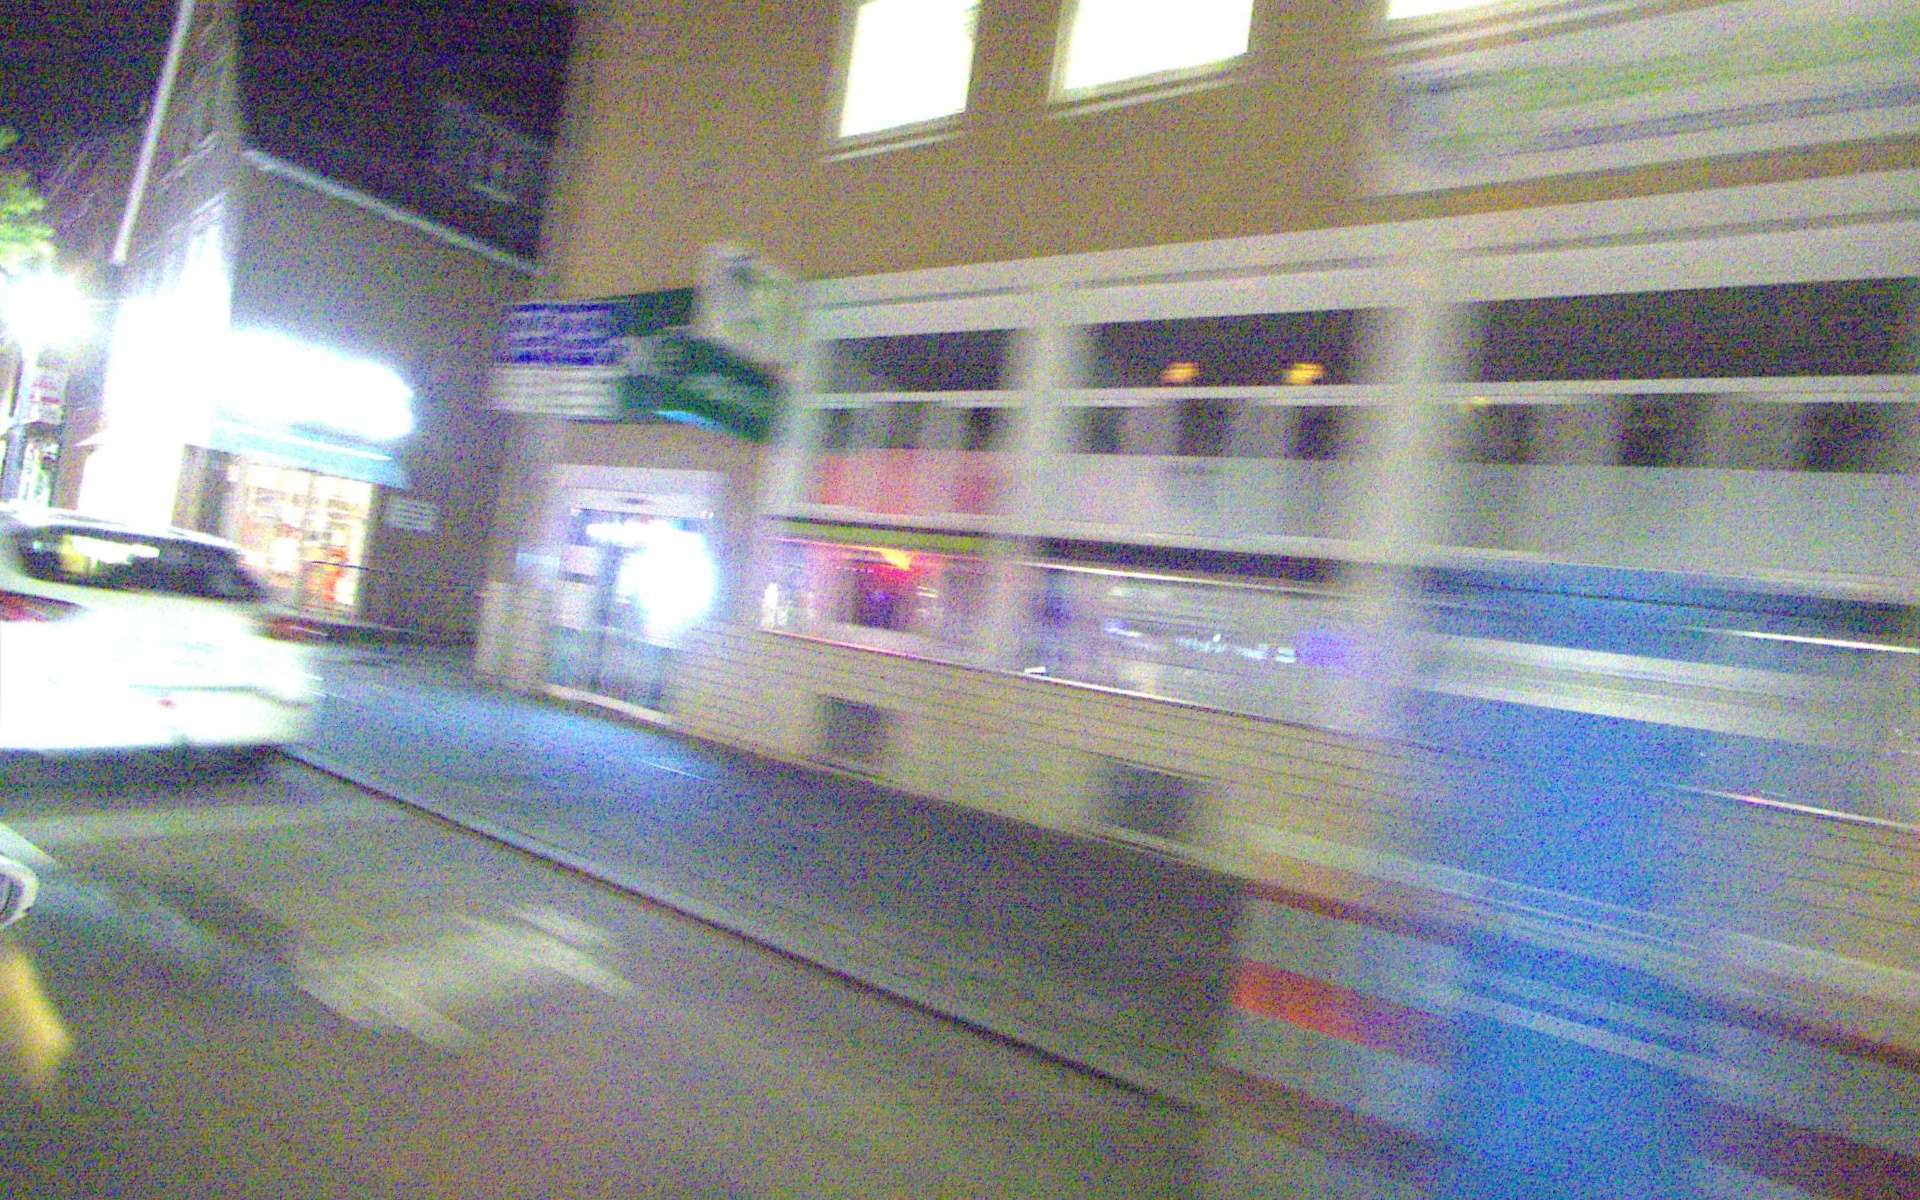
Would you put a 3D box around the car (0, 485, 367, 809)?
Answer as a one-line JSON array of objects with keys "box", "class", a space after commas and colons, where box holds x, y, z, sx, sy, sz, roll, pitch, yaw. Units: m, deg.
[{"box": [-5.963, 0.121, 6.527, 4.563, 1.504, 1.745, 6, -3, 34], "class": "car"}]
